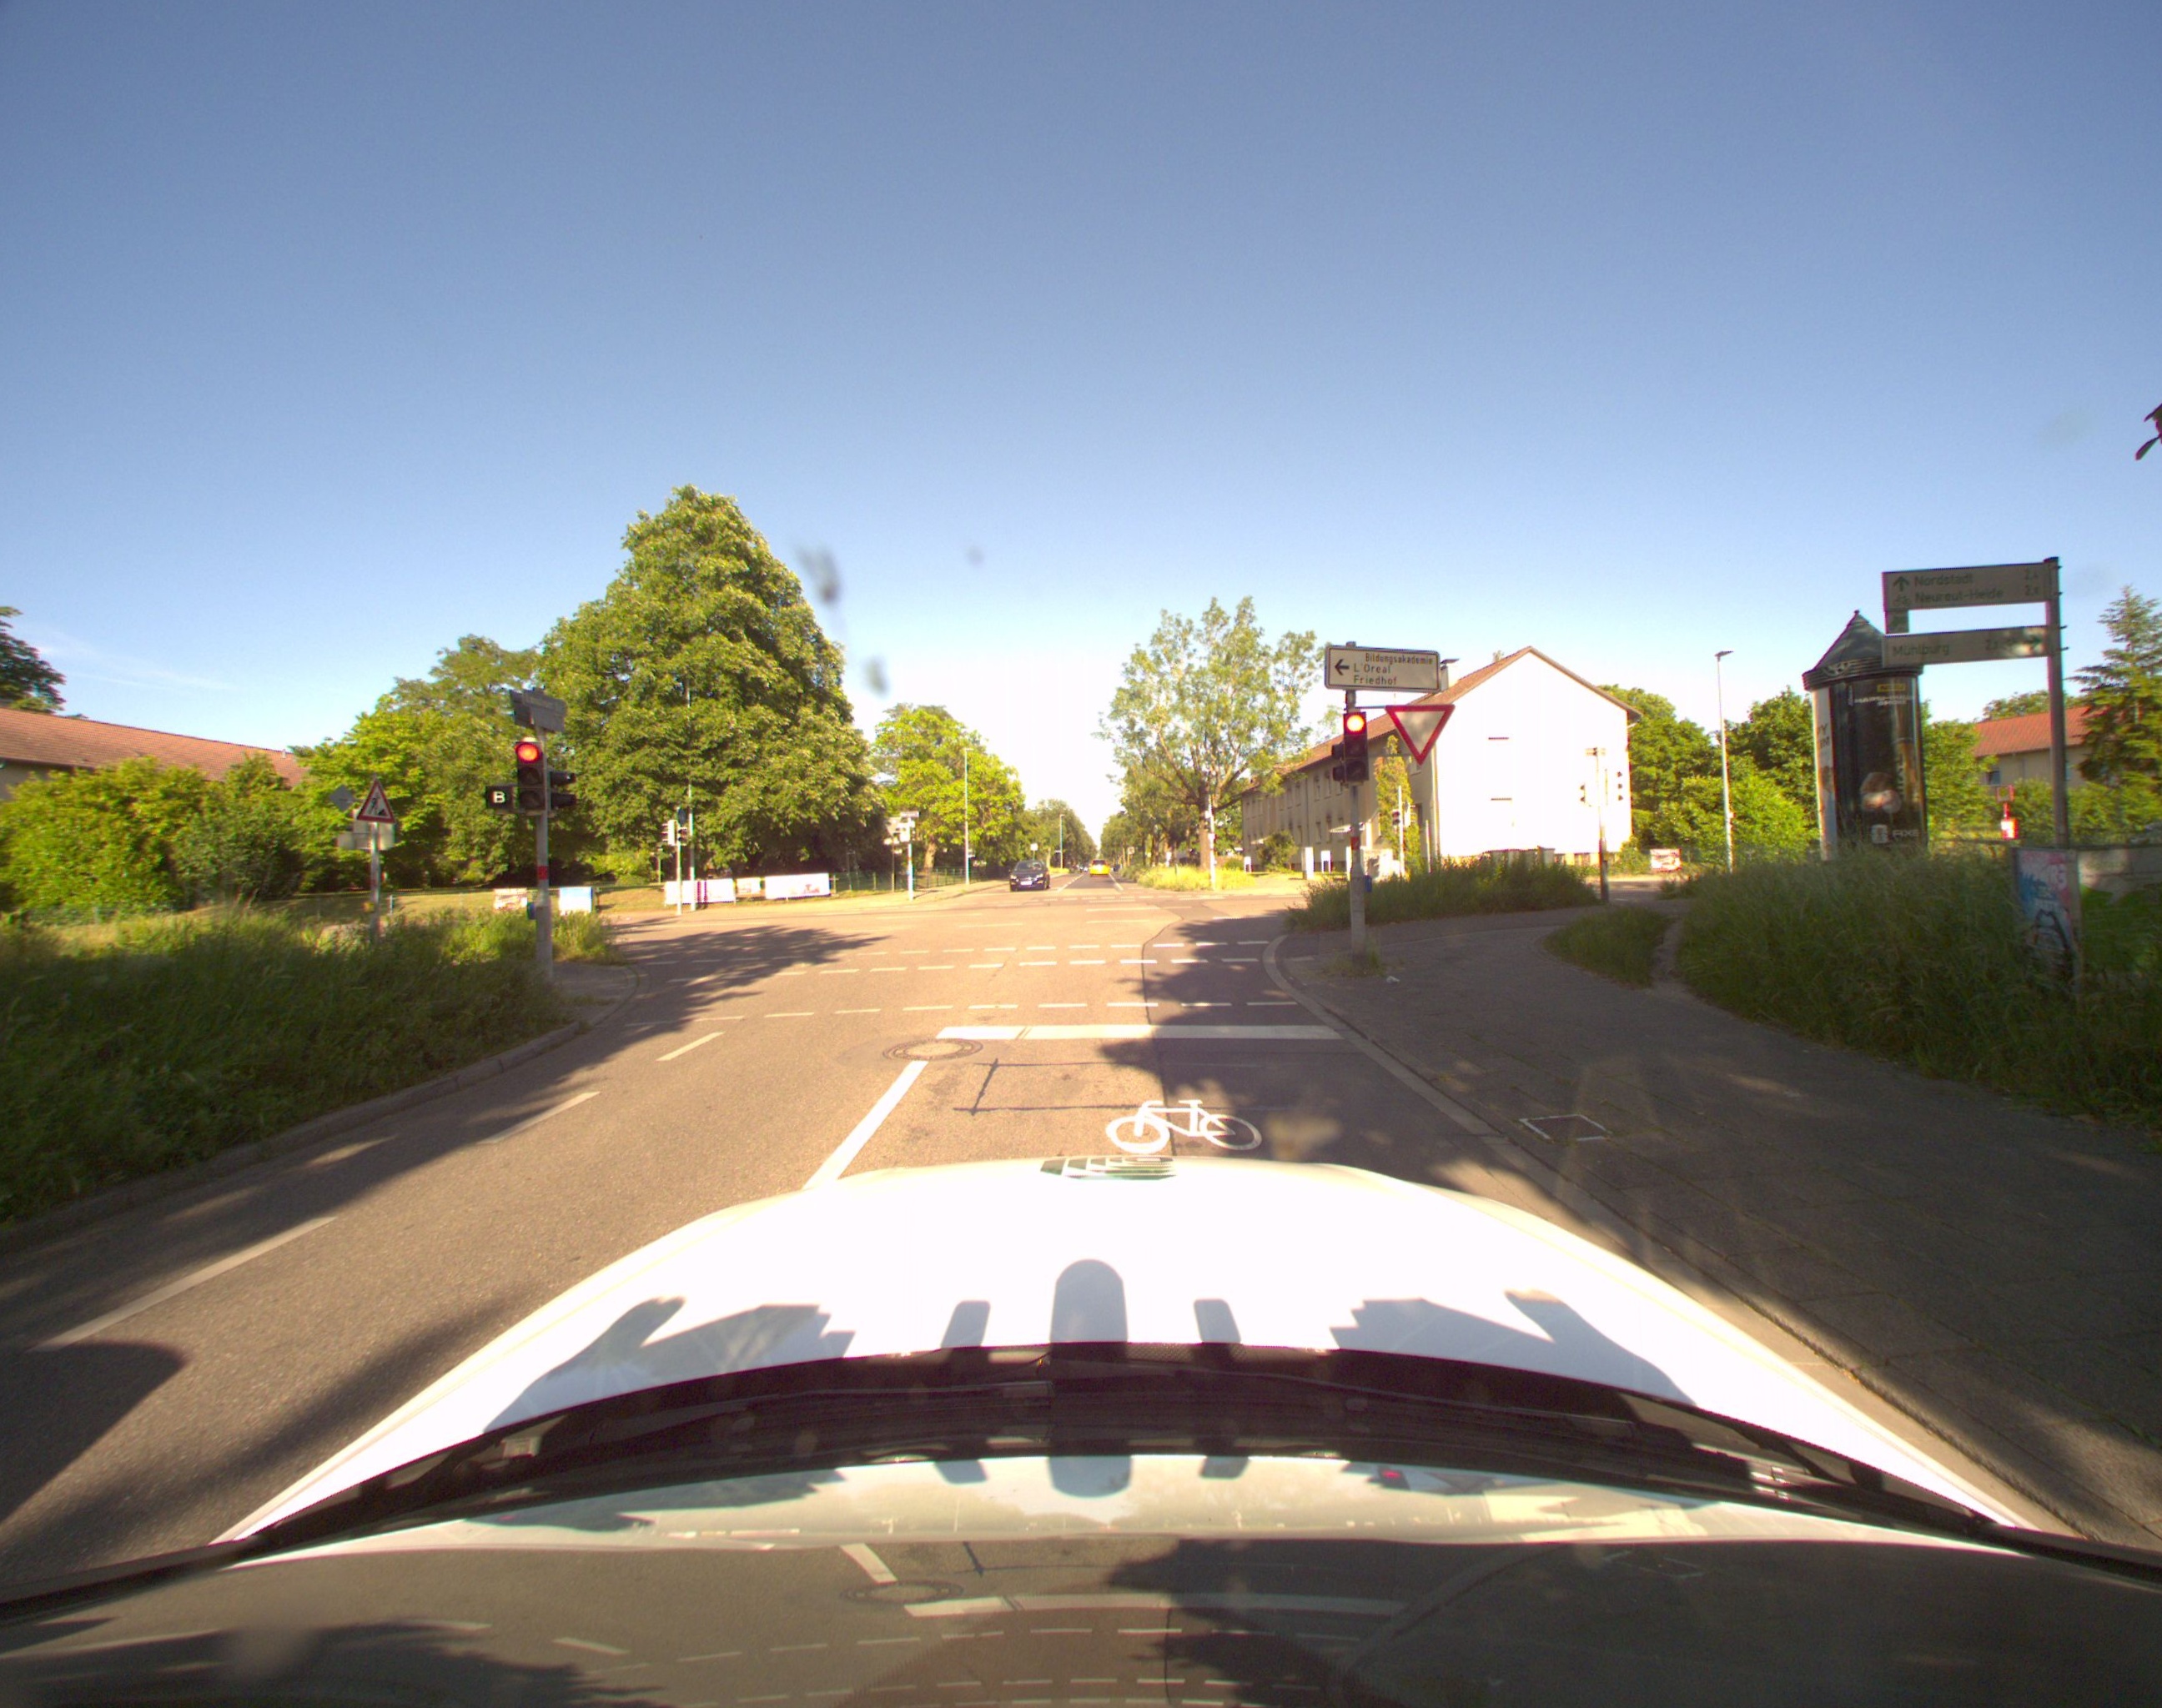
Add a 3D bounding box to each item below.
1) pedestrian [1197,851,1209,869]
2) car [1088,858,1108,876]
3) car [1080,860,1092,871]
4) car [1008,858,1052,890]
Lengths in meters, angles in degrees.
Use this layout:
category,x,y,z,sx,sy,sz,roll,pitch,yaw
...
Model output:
category,x,y,z,sx,sy,sz,roll,pitch,yaw
pedestrian,10.448,0.508,69.828,0.839,1.493,0.924,1,0,1
car,1.560,1.170,73.437,1.745,1.582,4.002,-1,-1,2
car,0.830,1.835,127.908,1.751,1.624,3.271,-2,0,3
car,-2.377,0.921,38.820,1.704,1.385,3.473,-2,0,3
